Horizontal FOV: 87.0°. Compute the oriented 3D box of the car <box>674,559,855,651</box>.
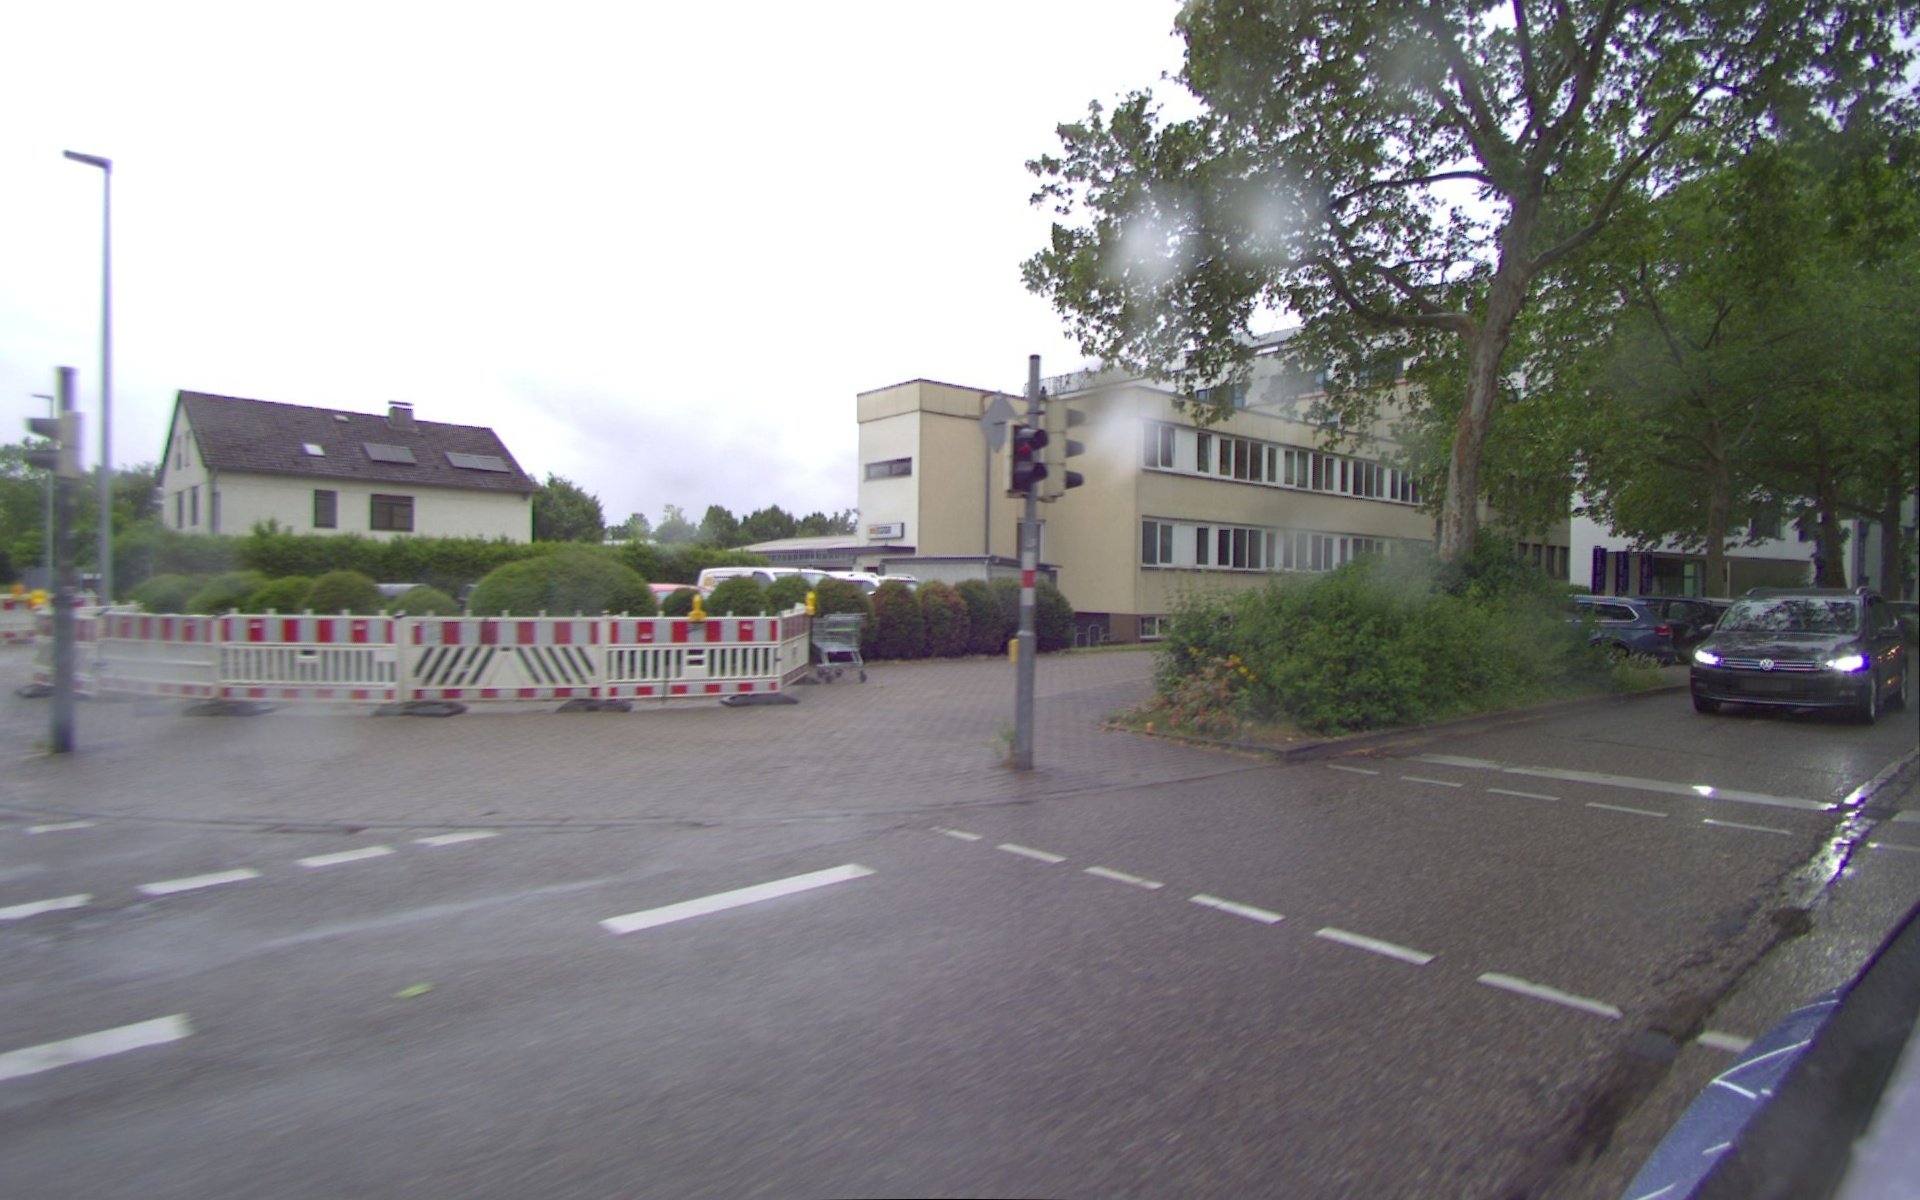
[{"bbox_3d":[-4.312,0.024,21.817,1.750,1.779,4.544,0,2,-42],"label":"car"}]

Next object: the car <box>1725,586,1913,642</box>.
[{"bbox_3d":[26.103,0.378,30.938,3.993,1.558,1.735,1,1,24],"label":"car"}]

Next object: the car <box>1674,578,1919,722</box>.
[{"bbox_3d":[11.781,0.530,13.920,5.493,1.614,1.997,0,1,-42],"label":"car"}]

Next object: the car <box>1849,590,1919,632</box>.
[{"bbox_3d":[36.818,0.448,39.080,3.632,1.523,1.723,3,1,41],"label":"car"}]

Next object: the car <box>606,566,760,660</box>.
[{"bbox_3d":[-5.488,0.143,19.677,1.790,1.610,4.310,-1,2,-31],"label":"car"}]

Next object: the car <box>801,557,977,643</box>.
[{"bbox_3d":[-1.730,-0.062,23.272,1.718,1.779,4.547,0,2,-39],"label":"car"}]

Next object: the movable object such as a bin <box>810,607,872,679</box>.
[{"bbox_3d":[-1.787,0.622,15.076,0.697,0.981,1.077,-1,2,-18],"label":"movable object such as a bin"}]

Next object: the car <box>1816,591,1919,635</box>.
[{"bbox_3d":[33.477,0.456,36.194,3.996,1.446,1.734,1,1,25],"label":"car"}]

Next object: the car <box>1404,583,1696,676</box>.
[{"bbox_3d":[10.667,0.470,18.703,4.451,1.477,1.733,2,1,27],"label":"car"}]

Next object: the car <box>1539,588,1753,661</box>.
[{"bbox_3d":[15.148,0.483,22.584,3.654,1.434,1.734,1,1,25],"label":"car"}]

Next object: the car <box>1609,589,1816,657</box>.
[{"bbox_3d":[17.887,0.496,24.278,3.653,1.434,1.761,1,1,25],"label":"car"}]
